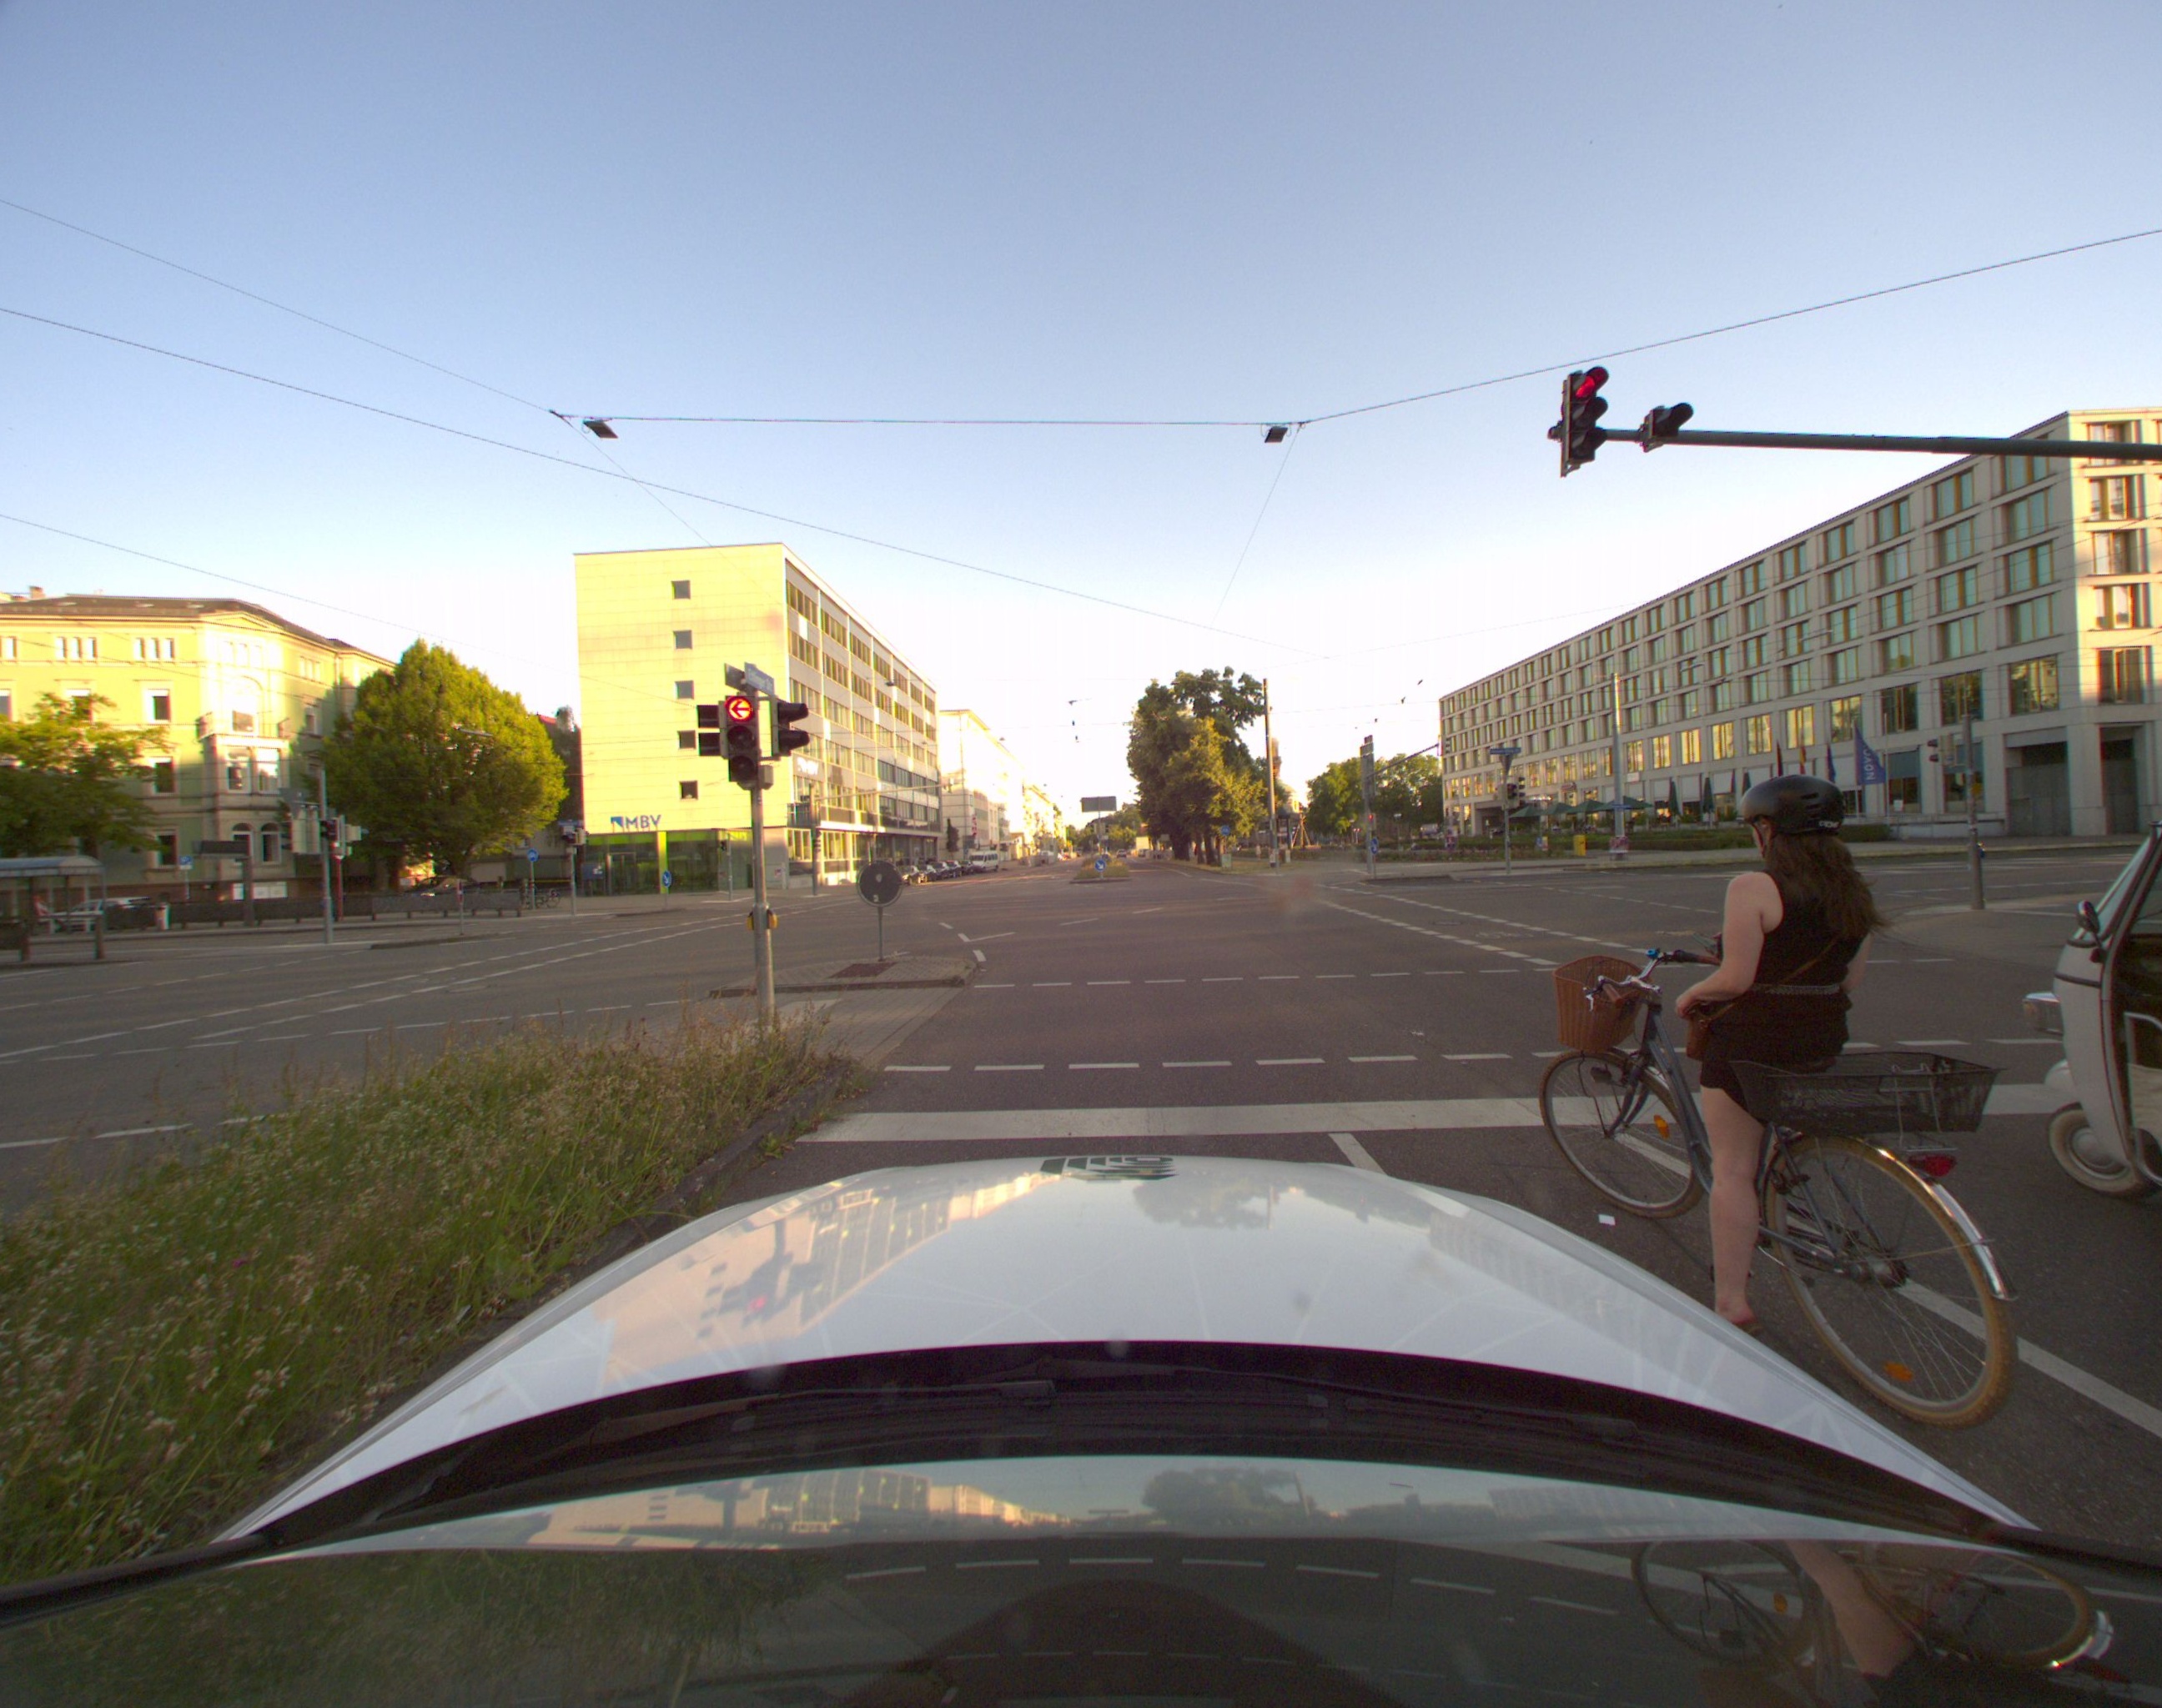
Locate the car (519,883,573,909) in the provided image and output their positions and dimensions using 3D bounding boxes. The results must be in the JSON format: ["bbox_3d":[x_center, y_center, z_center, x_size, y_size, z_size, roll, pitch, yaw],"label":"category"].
[{"bbox_3d":[-25.805,2.007,39.369,0.850,1.073,2.522,-3,0,1],"label":"car"}]

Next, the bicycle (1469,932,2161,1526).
[{"bbox_3d":[2.125,0.913,2.798,0.635,1.069,2.070,-2,0,2],"label":"bicycle"}]

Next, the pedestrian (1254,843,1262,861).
[{"bbox_3d":[16.544,-0.207,76.069,0.506,1.668,0.531,-3,0,1],"label":"pedestrian"}]

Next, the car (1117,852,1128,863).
[{"bbox_3d":[7.997,0.615,156.999,1.986,2.013,4.001,-3,0,1],"label":"car"}]

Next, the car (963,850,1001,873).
[{"bbox_3d":[-11.119,0.846,91.920,2.161,2.385,6.010,-3,-2,13],"label":"car"}]

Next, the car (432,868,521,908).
[{"bbox_3d":[-34.937,1.926,47.199,1.986,2.013,4.001,-3,0,1],"label":"car"}]

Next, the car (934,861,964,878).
[{"bbox_3d":[-12.771,1.560,78.950,1.787,1.475,4.006,-3,-2,6],"label":"car"}]

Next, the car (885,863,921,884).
[{"bbox_3d":[-13.583,1.539,62.358,1.790,1.475,4.000,-3,-2,1],"label":"car"}]

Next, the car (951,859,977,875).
[{"bbox_3d":[-12.222,1.399,85.344,1.787,1.475,4.005,-3,-2,5],"label":"car"}]

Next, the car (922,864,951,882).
[{"bbox_3d":[-13.062,1.713,73.758,1.790,1.475,4.000,-3,-3,1],"label":"car"}]

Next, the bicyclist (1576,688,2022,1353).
[{"bbox_3d":[2.086,0.431,2.485,0.626,1.693,0.749,-3,0,1],"label":"bicyclist"}]

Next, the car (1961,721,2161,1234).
[{"bbox_3d":[4.414,0.423,2.168,1.453,1.780,2.568,-2,1,4],"label":"car"}]

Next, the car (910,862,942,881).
[{"bbox_3d":[-13.125,1.512,69.003,1.790,1.475,4.000,-3,-2,1],"label":"car"}]
